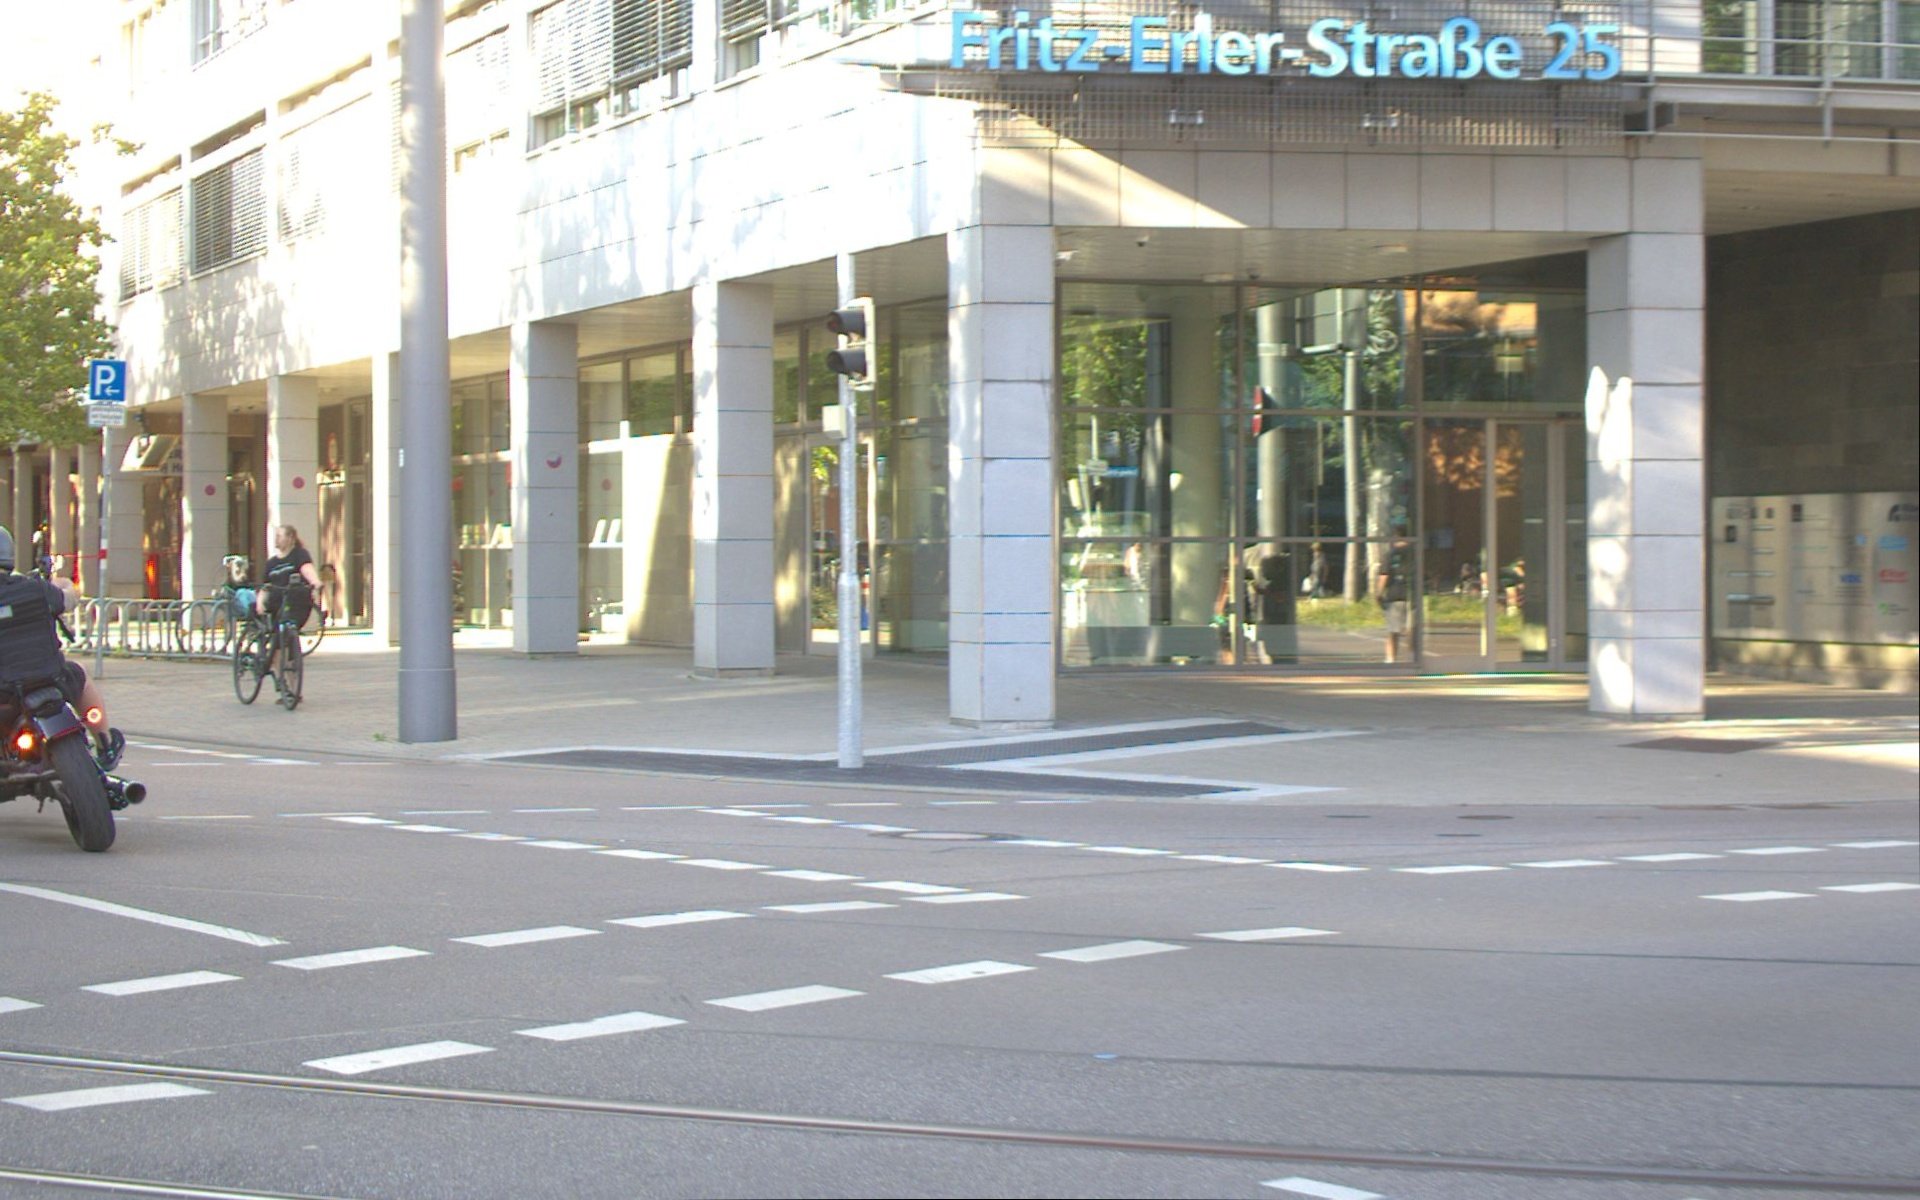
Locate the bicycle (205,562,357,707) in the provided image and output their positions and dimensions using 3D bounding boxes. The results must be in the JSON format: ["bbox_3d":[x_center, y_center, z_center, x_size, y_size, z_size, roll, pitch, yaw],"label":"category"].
[{"bbox_3d":[-6.034,0.288,30.474,0.611,1.159,1.848,-5,5,-33],"label":"bicycle"}]

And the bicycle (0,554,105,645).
[{"bbox_3d":[-11.589,-0.014,42.463,1.867,1.097,0.740,-1,1,-39],"label":"bicycle"}]

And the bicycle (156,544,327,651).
[{"bbox_3d":[-8.230,-0.038,39.424,1.833,1.147,0.470,-2,2,-30],"label":"bicycle"}]

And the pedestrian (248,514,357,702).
[{"bbox_3d":[-5.859,0.059,30.647,0.605,1.605,0.837,-4,4,-34],"label":"pedestrian"}]

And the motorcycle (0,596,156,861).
[{"bbox_3d":[-4.380,0.563,16.222,1.005,1.121,2.324,0,1,-17],"label":"motorcycle"}]

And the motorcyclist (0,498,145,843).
[{"bbox_3d":[-4.401,0.303,16.201,1.022,1.547,1.287,0,2,-17],"label":"motorcyclist"}]

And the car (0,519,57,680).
[{"bbox_3d":[-11.007,-0.007,35.613,1.859,1.567,4.414,-4,3,-33],"label":"car"}]

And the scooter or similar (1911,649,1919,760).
[{"bbox_3d":[7.317,0.762,25.130,0.616,0.788,0.659,2,2,22],"label":"scooter or similar"}]

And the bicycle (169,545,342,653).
[{"bbox_3d":[-7.987,-0.020,39.012,1.833,1.147,0.470,-2,2,-30],"label":"bicycle"}]
